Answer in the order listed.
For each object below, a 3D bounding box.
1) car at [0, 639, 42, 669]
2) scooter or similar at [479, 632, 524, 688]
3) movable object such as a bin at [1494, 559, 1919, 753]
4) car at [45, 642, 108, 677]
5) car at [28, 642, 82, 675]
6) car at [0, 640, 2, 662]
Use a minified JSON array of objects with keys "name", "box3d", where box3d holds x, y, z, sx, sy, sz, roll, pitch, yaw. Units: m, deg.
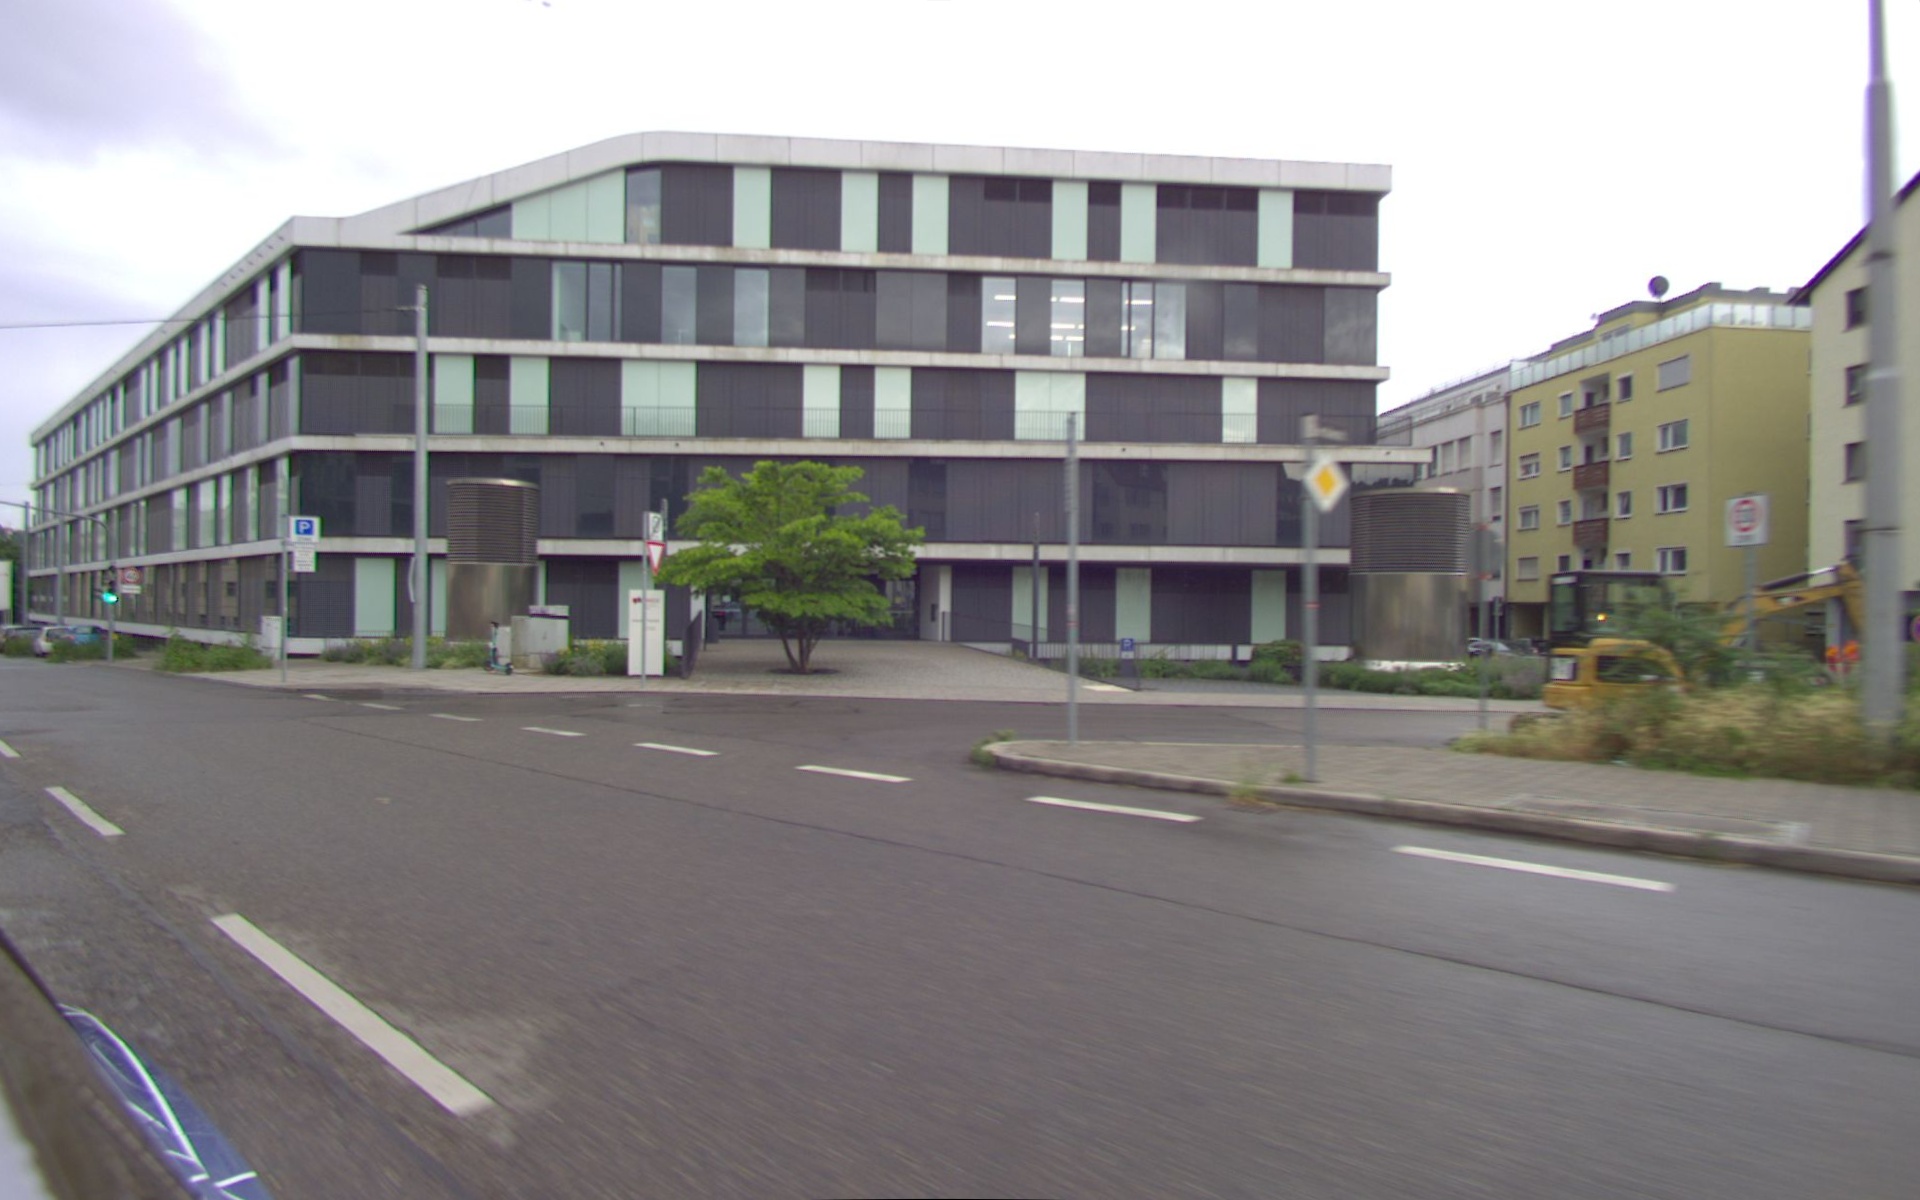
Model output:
[{"name":"car","box3d":[-56.173,3.192,60.204,4.361,1.601,1.811,-3,0,42]},{"name":"scooter or similar","box3d":[-10.703,1.378,23.622,1.231,1.258,0.491,-2,-1,43]},{"name":"movable object such as a bin","box3d":[10.516,0.751,14.027,5.217,2.478,1.670,-1,-1,2]},{"name":"car","box3d":[-39.742,2.633,45.515,3.581,1.478,1.621,-2,-2,40]},{"name":"car","box3d":[-43.590,2.789,48.731,3.583,1.478,1.619,-2,-2,43]},{"name":"car","box3d":[-68.143,3.577,70.636,4.040,1.483,1.545,-3,-2,42]}]
